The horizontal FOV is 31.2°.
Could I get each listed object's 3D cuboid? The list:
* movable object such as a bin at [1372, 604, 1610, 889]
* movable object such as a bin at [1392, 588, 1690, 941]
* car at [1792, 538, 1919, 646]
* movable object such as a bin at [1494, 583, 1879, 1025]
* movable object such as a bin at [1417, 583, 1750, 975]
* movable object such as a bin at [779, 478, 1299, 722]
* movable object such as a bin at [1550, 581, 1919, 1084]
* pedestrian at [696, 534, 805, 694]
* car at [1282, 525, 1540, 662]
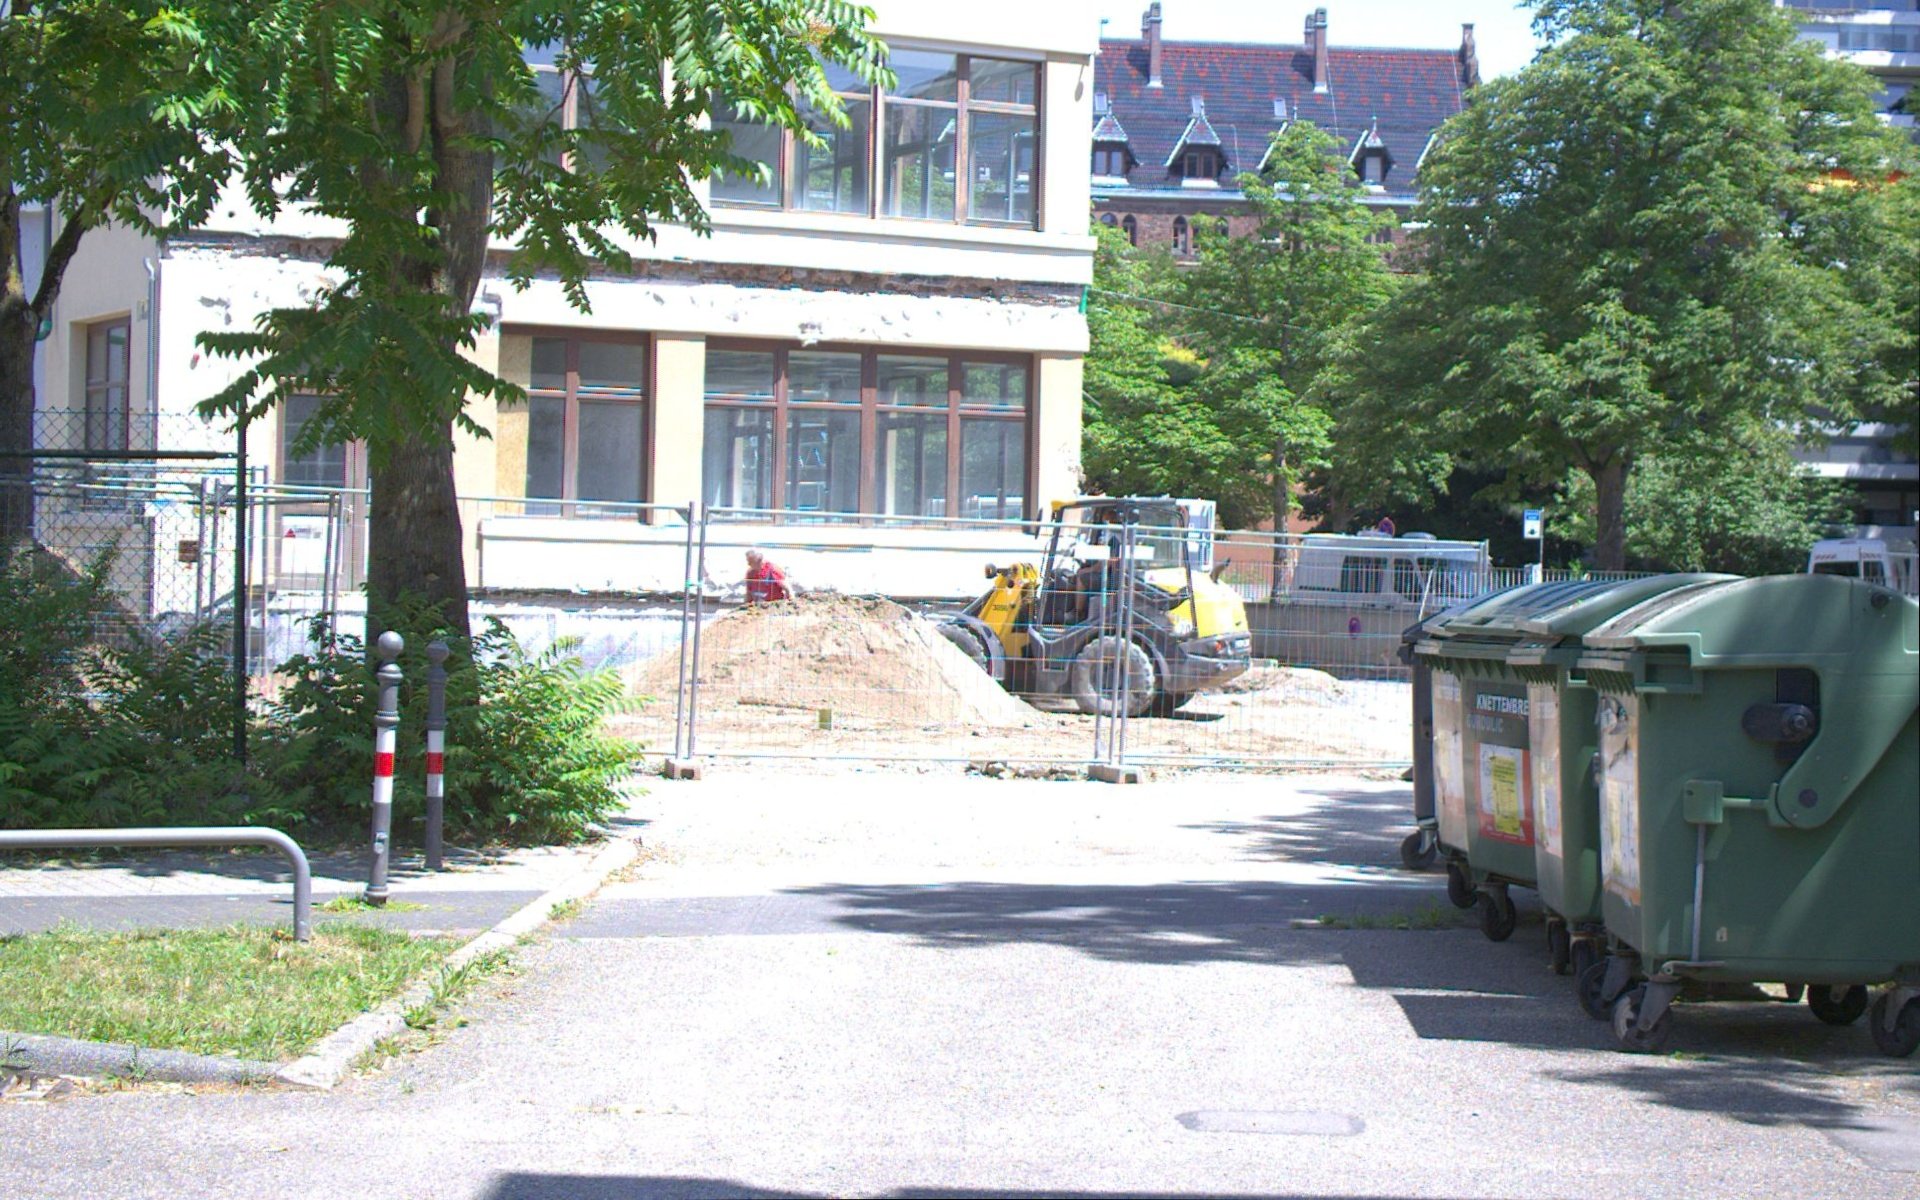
[{"bbox_3d":[2.848,0.763,18.610,1.075,1.453,1.377,1,0,2],"label":"movable object such as a bin"},{"bbox_3d":[2.522,0.689,15.109,1.075,1.453,1.377,1,0,2],"label":"movable object such as a bin"},{"bbox_3d":[19.796,-0.150,75.531,2.187,2.250,4.863,1,0,22],"label":"car"},{"bbox_3d":[2.541,0.681,12.214,1.075,1.453,1.377,1,0,2],"label":"movable object such as a bin"},{"bbox_3d":[2.449,0.676,13.688,1.075,1.453,1.377,1,0,2],"label":"movable object such as a bin"},{"bbox_3d":[0.892,-0.029,39.714,5.412,2.456,2.364,3,1,29],"label":"movable object such as a bin"},{"bbox_3d":[2.504,0.683,10.771,1.075,1.453,1.377,1,0,2],"label":"movable object such as a bin"},{"bbox_3d":[-2.462,0.158,40.451,0.915,1.840,0.985,1,0,21],"label":"pedestrian"},{"bbox_3d":[8.298,-0.148,63.771,1.993,2.408,5.244,1,0,-28],"label":"car"}]
